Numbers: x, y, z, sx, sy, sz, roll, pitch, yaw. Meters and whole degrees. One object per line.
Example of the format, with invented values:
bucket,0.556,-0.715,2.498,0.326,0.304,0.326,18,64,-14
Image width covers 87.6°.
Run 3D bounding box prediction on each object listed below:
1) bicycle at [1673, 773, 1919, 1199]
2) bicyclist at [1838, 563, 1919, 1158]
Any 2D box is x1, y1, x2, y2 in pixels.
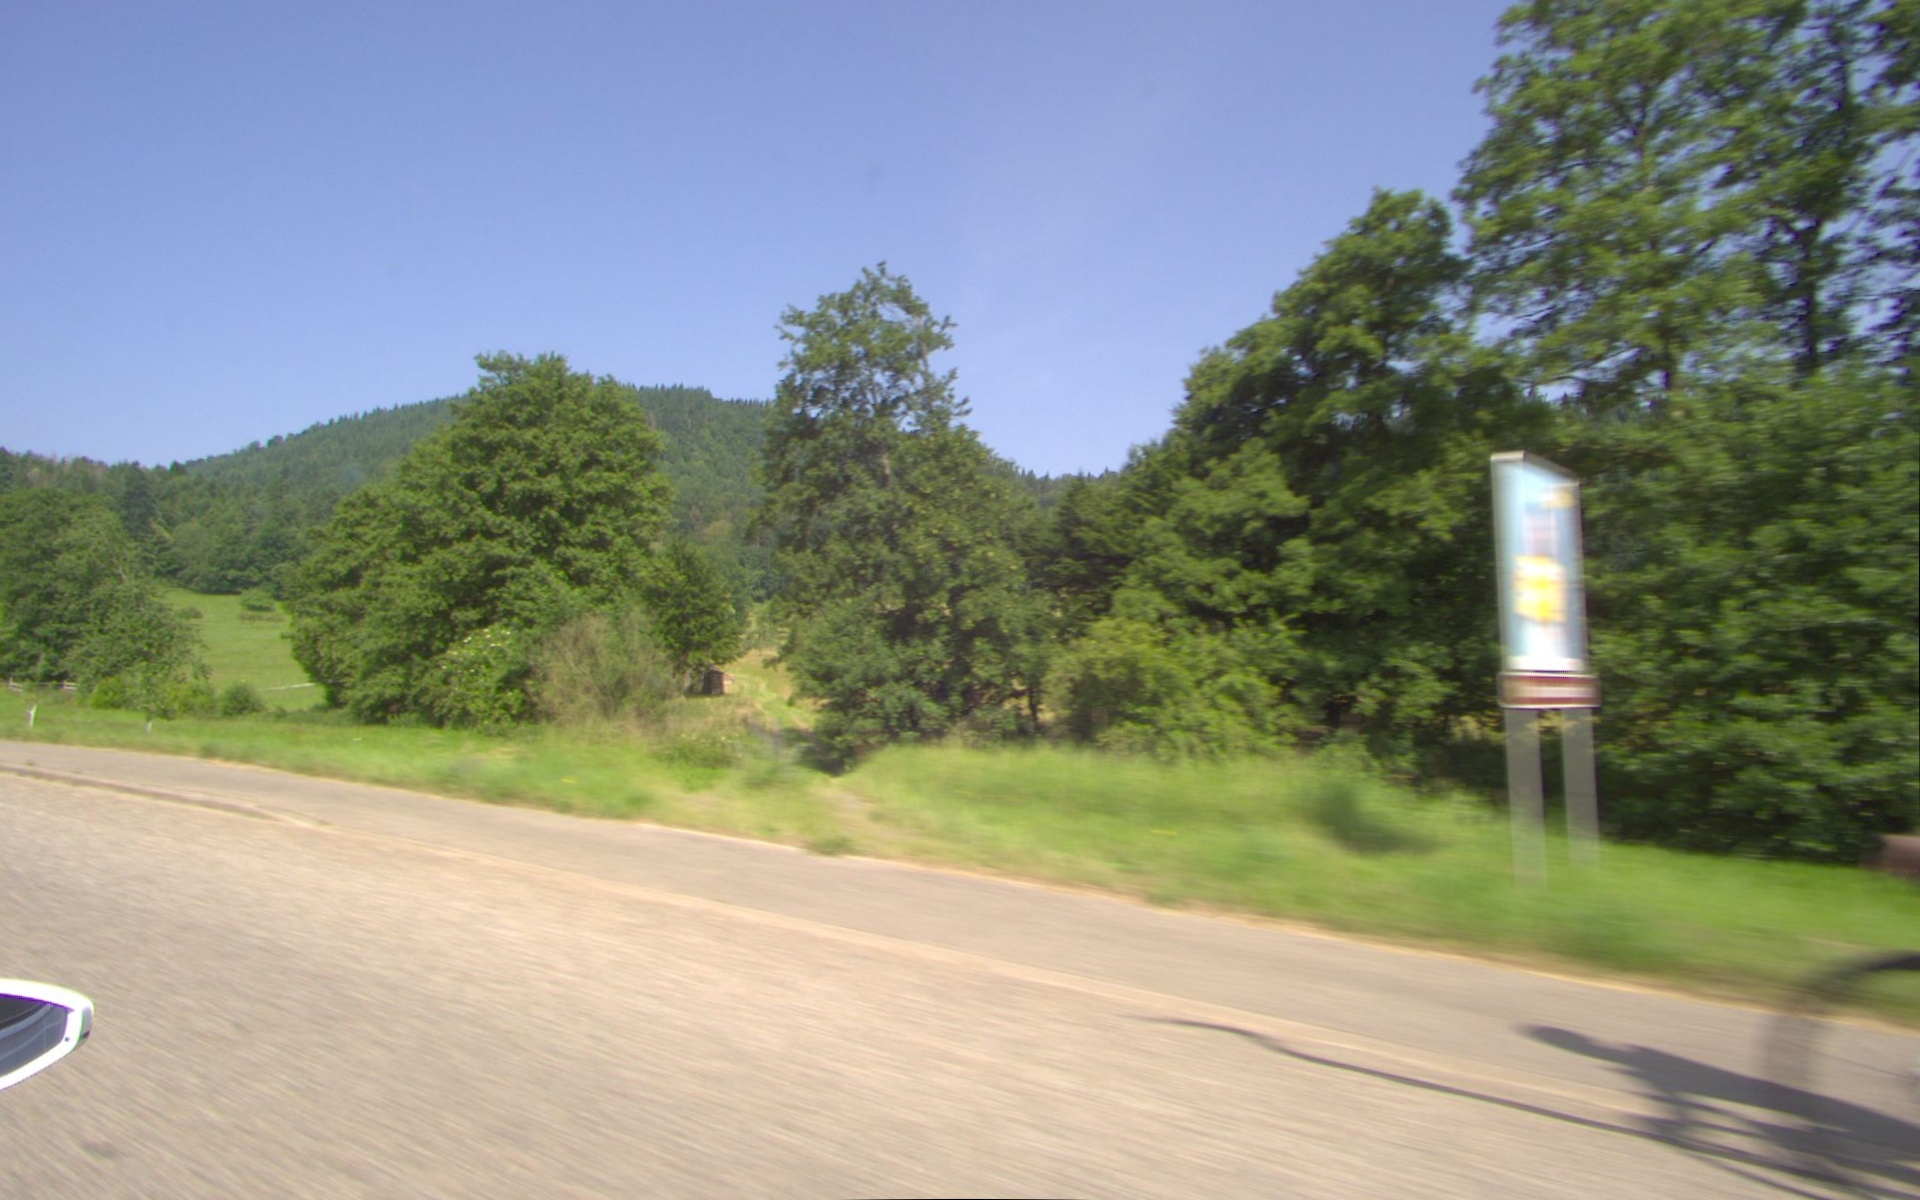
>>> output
bicycle,2.821,1.024,2.232,1.962,1.048,0.578,-1,-1,32
bicyclist,2.789,0.591,2.254,1.129,1.360,0.578,-1,-1,32
